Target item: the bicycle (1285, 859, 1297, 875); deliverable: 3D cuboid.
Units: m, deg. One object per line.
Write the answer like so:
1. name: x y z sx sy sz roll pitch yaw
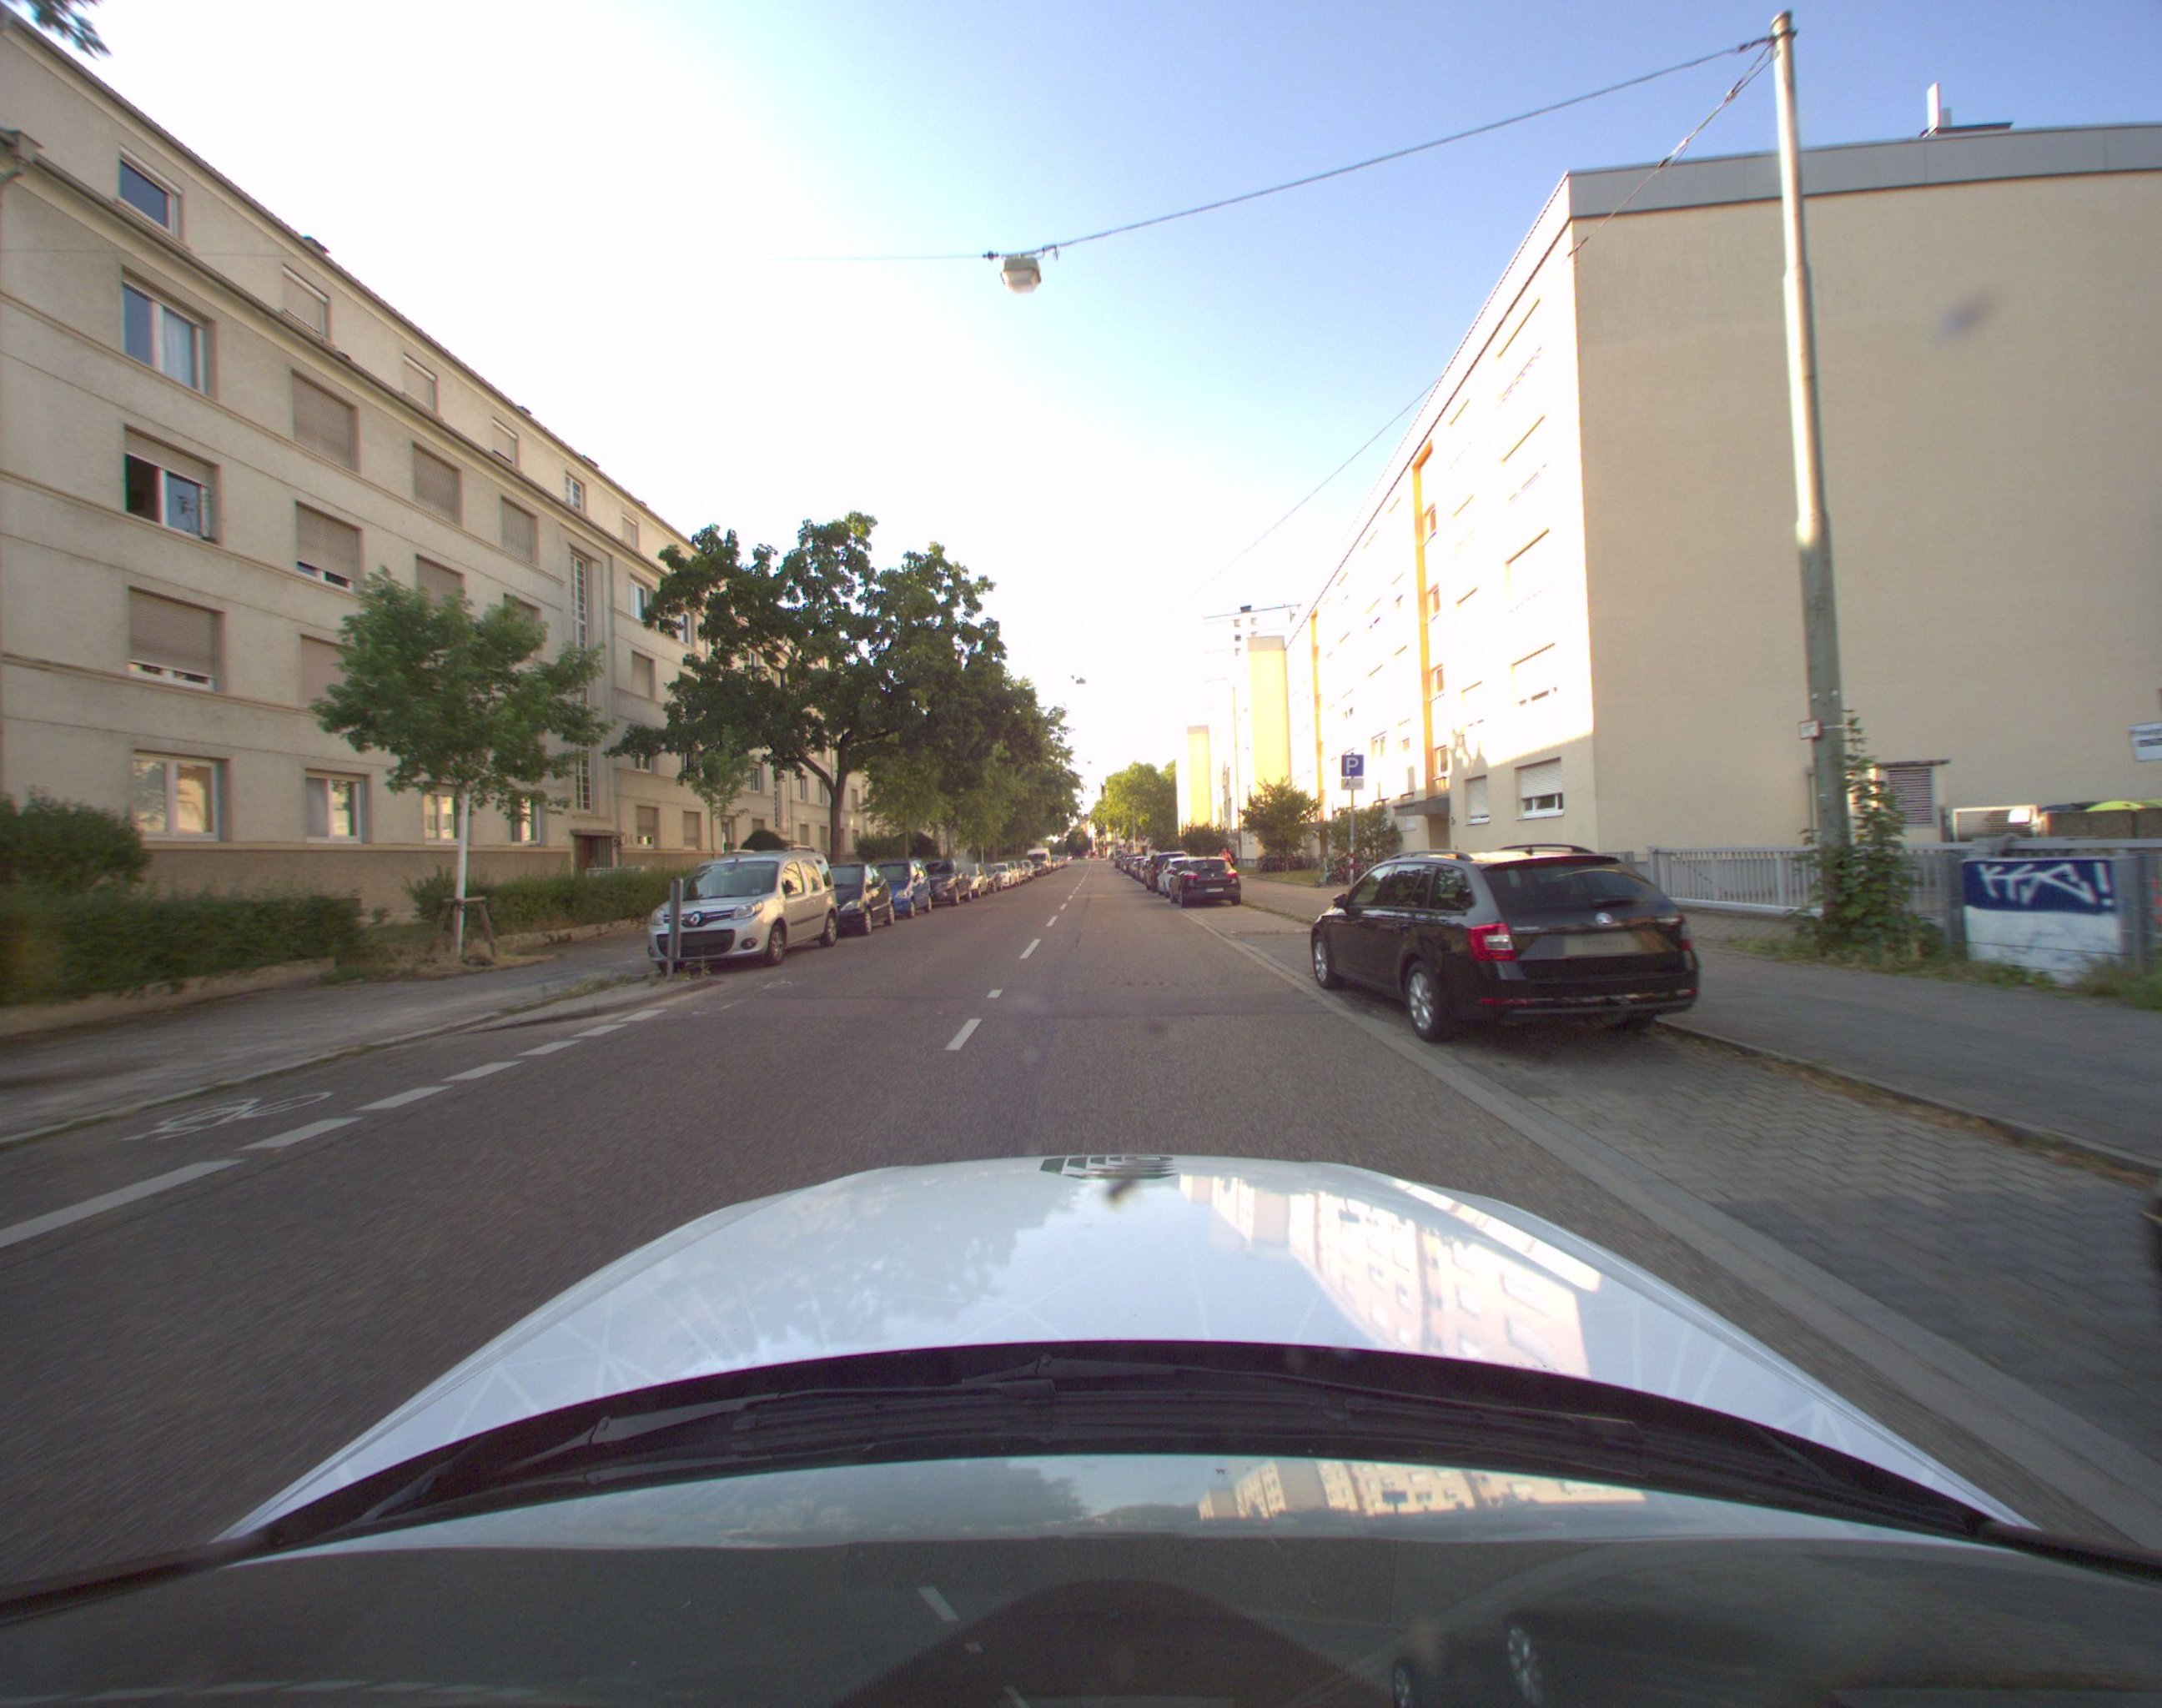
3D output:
1. bicycle: 12.500 0.759 48.552 0.435 0.942 1.794 0 -1 7

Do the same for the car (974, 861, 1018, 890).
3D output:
1. car: -4.662 1.166 45.319 1.998 1.552 4.470 0 -1 -1

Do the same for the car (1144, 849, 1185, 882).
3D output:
1. car: 4.243 0.607 41.967 1.765 1.617 4.001 0 -1 1

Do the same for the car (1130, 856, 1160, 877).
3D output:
1. car: 4.585 0.908 58.811 1.867 1.443 3.998 0 -1 -1

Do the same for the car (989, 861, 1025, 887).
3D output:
1. car: -4.557 1.231 50.767 1.867 1.552 3.998 0 -1 -1

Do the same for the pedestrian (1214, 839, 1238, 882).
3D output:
1. pedestrian: 6.467 0.280 36.382 0.885 1.890 1.279 0 -1 1

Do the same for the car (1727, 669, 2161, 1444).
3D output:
1. car: 3.338 0.421 0.818 1.893 1.779 4.586 -2 -1 4

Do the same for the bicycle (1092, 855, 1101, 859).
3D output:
1. bicycle: 4.651 0.768 242.597 2.799 1.203 0.509 0 -1 -6

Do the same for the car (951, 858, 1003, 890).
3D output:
1. car: -4.835 0.933 38.511 1.867 1.434 4.802 0 -1 -1

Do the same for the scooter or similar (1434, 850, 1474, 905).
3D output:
1. scooter or similar: 8.303 0.520 18.156 0.332 1.192 1.241 0 -1 2

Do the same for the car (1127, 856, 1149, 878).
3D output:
1. car: 4.962 1.138 70.849 1.829 1.772 3.981 -1 -1 3

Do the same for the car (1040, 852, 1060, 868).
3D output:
1. car: -3.570 0.684 93.325 1.864 1.558 5.057 -6 0 1

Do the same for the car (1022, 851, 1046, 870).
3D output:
1. car: -4.007 0.608 69.823 1.701 1.574 3.820 0 -1 1

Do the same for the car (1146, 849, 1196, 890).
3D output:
1. car: 3.971 0.701 36.648 1.765 1.678 4.647 -2 -1 1

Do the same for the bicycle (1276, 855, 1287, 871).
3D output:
1. bicycle: 11.954 0.526 48.597 0.435 0.942 1.794 0 -1 7

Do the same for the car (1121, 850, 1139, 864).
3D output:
1. car: 5.832 0.395 97.286 1.891 1.651 4.343 0 0 0

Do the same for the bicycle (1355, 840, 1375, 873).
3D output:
1. bicycle: 10.544 0.098 30.294 0.332 1.192 1.241 0 -1 2

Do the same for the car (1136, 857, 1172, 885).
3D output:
1. car: 4.297 0.986 48.405 1.765 1.454 4.001 -4 -1 1

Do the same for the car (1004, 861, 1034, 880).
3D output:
1. car: -4.539 1.186 60.256 1.867 1.355 4.652 0 -1 -1

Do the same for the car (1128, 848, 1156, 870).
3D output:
1. car: 4.893 0.437 65.922 1.955 1.605 4.280 -4 -1 1

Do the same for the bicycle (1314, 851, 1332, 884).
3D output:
1. bicycle: 9.041 0.513 30.461 0.332 1.192 1.241 0 -1 2

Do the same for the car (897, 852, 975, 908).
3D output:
1. car: -4.981 0.871 28.632 1.868 1.759 4.688 -2 -1 -1

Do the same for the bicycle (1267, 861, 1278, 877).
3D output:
1. bicycle: 11.440 0.913 48.637 0.435 0.942 1.794 0 -1 7

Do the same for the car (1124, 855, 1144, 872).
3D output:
1. car: 4.884 0.864 75.457 1.830 1.501 4.174 0 -1 2

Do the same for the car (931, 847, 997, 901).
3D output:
1. car: -4.881 0.838 34.584 1.986 2.013 4.001 -4 -1 1

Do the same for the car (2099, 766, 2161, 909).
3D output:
1. car: 14.260 -0.298 8.638 4.457 1.602 1.734 -3 -1 4

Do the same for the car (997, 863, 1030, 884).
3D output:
1. car: -4.489 1.262 54.646 1.867 1.355 3.998 0 -1 -1

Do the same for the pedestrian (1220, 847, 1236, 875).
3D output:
1. pedestrian: 8.885 0.427 49.111 0.763 1.658 0.536 -4 -1 1

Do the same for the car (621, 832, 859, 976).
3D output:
1. car: -5.359 0.729 13.571 1.834 1.896 4.489 -3 -1 2

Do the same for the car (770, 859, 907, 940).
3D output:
1. car: -5.379 0.967 18.632 1.868 1.552 3.998 -3 -1 -1

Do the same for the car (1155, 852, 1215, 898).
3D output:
1. car: 3.921 0.785 31.334 1.765 1.508 4.001 -5 -1 1

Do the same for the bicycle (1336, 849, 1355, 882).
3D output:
1. bicycle: 9.749 0.434 30.038 0.332 1.192 1.241 0 -1 2

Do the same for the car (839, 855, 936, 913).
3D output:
1. car: -5.469 0.829 23.587 1.867 1.552 3.998 0 -1 -1

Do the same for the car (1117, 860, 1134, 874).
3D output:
1. car: 4.726 1.385 86.372 1.673 1.415 4.724 0 -1 1

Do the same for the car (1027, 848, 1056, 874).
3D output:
1. car: -3.704 0.694 77.480 2.349 2.446 6.166 0 -1 1

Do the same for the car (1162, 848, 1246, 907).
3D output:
1. car: 3.778 0.715 25.740 1.793 1.507 4.620 -5 -1 -1

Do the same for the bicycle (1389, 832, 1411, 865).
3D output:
1. bicycle: 11.737 -0.204 30.011 0.332 1.192 1.241 0 -1 2

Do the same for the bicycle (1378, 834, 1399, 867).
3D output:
1. bicycle: 11.326 -0.119 30.001 0.332 1.192 1.241 0 -1 2

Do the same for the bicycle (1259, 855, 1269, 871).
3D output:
1. bicycle: 10.945 0.528 48.694 0.435 0.942 1.794 0 -1 7

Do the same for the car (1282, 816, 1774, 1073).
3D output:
1. car: 3.535 0.625 7.794 1.880 1.561 4.944 -3 -1 -1
